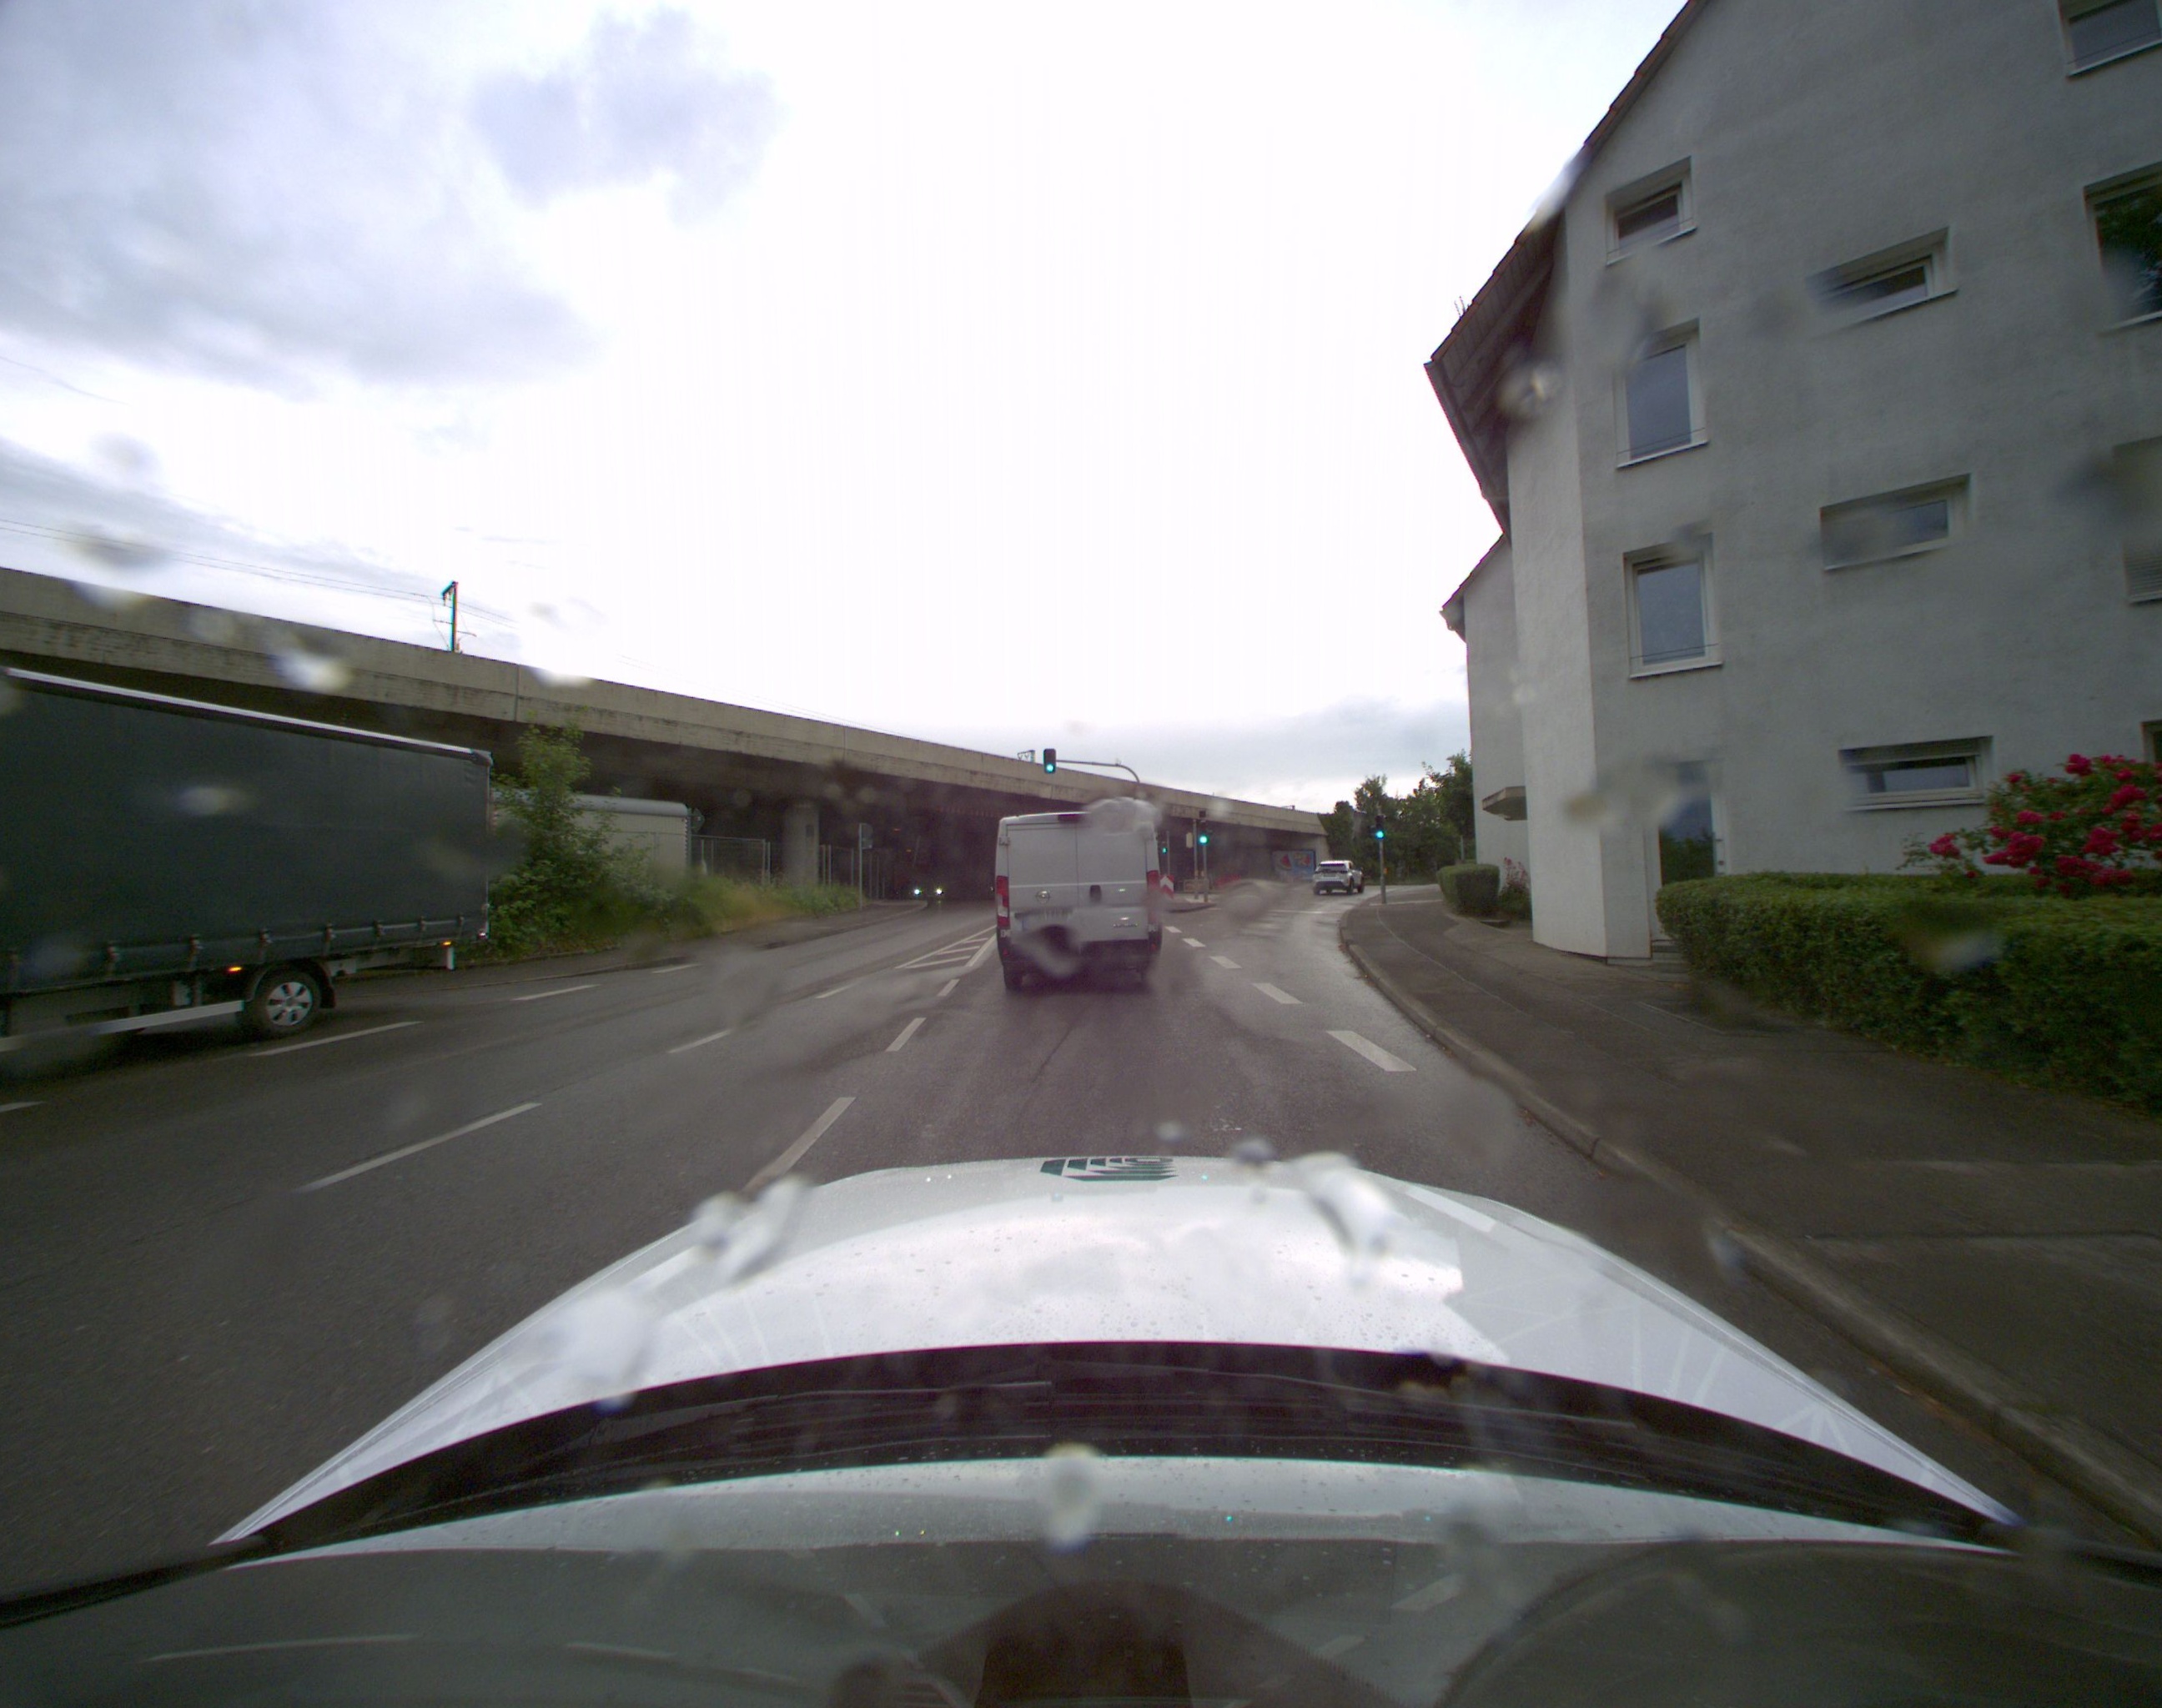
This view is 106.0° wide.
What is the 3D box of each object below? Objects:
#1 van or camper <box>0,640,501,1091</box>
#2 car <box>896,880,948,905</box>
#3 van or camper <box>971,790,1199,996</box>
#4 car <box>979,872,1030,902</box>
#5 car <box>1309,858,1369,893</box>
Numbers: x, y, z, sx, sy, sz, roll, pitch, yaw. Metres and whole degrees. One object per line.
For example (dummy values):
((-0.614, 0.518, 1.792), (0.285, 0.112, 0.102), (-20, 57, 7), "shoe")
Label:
((-9.292, 0.121, 7.108), (2.688, 3.335, 7.764), (-1, -1, 2), "van or camper")
((-10.687, 2.536, 54.521), (2.006, 1.530, 4.456), (0, -1, -31), "car")
((0.035, 0.505, 12.182), (2.690, 2.417, 4.901), (-1, -1, -1), "van or camper")
((-4.815, 2.031, 50.877), (2.002, 1.750, 3.968), (-1, -1, -24), "car")
((12.108, 0.970, 38.056), (1.857, 1.530, 4.024), (-2, -1, 29), "car")
